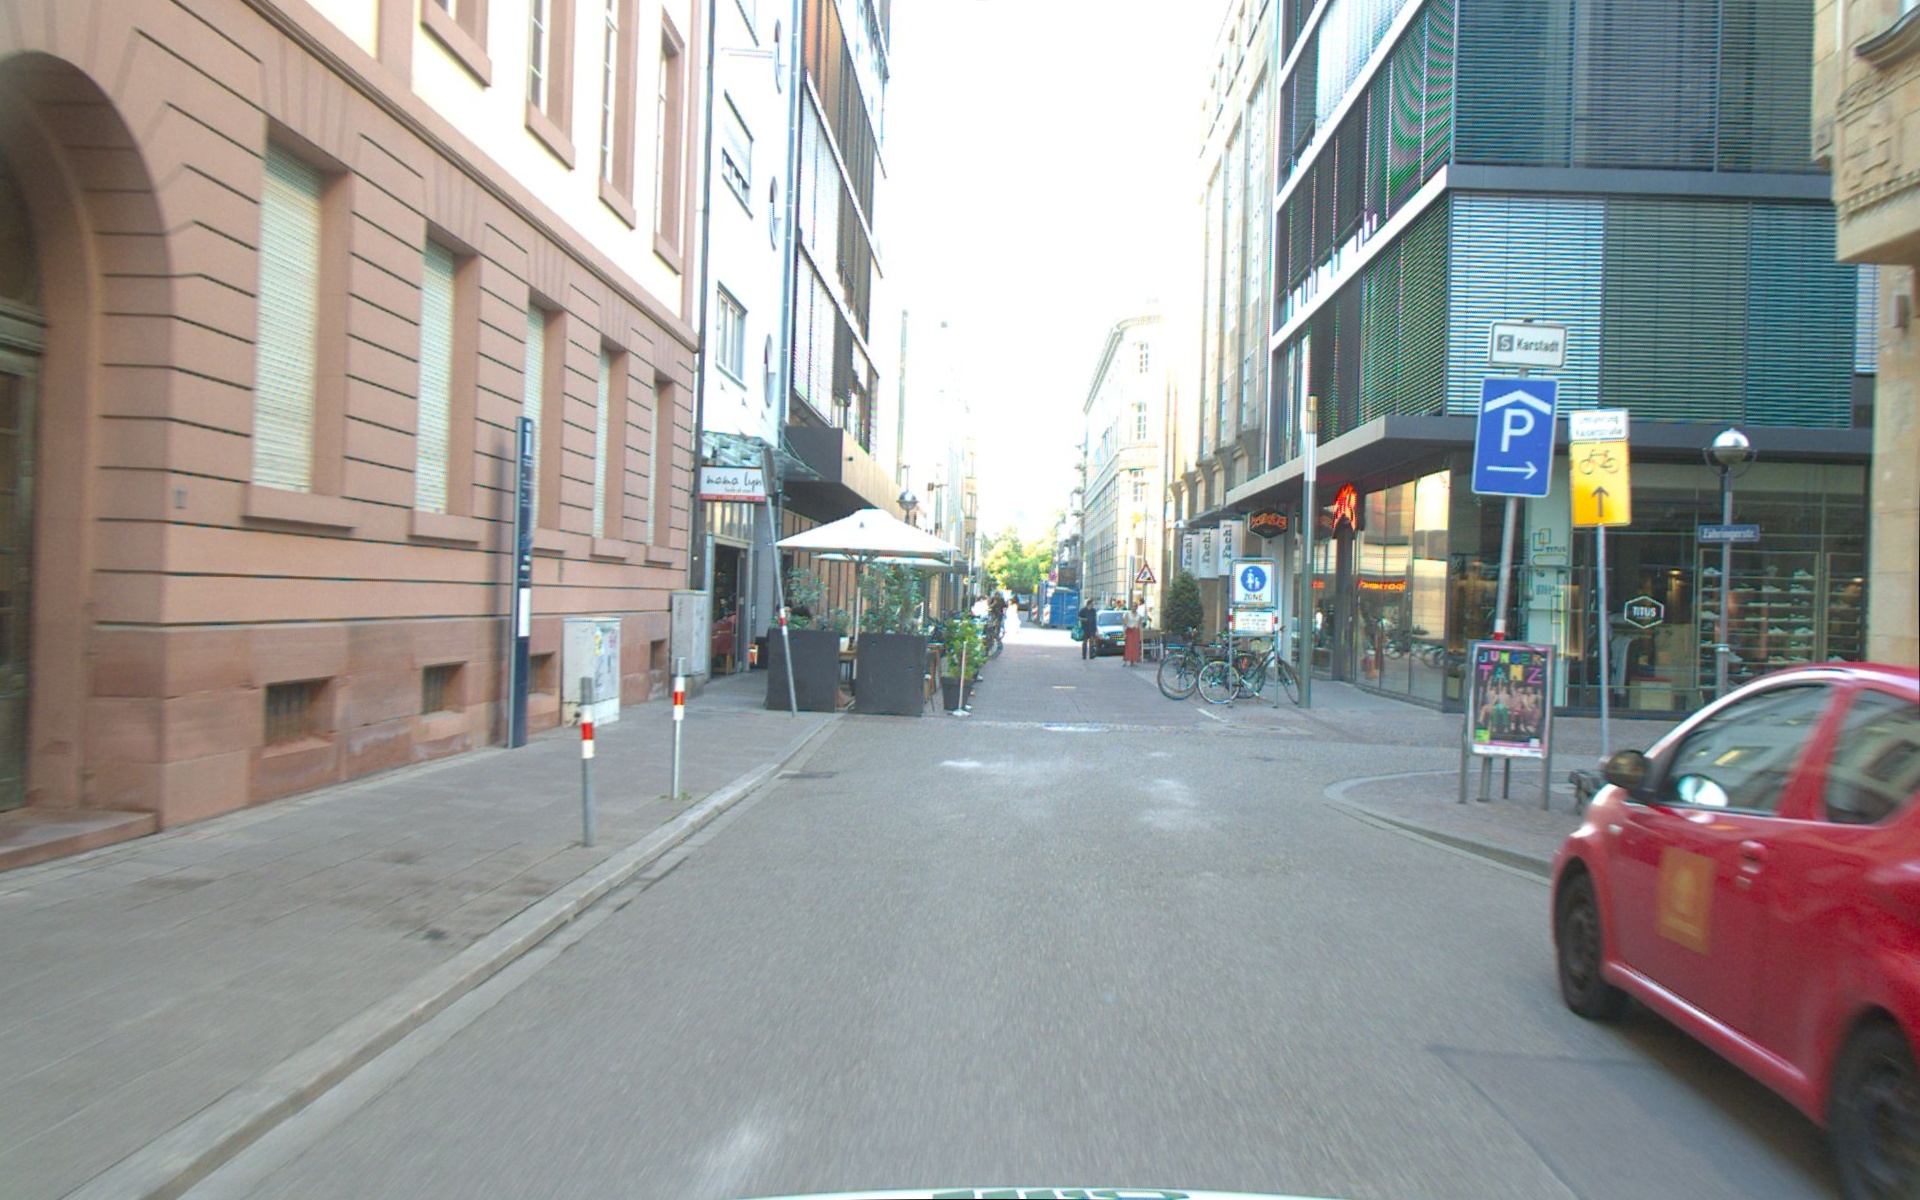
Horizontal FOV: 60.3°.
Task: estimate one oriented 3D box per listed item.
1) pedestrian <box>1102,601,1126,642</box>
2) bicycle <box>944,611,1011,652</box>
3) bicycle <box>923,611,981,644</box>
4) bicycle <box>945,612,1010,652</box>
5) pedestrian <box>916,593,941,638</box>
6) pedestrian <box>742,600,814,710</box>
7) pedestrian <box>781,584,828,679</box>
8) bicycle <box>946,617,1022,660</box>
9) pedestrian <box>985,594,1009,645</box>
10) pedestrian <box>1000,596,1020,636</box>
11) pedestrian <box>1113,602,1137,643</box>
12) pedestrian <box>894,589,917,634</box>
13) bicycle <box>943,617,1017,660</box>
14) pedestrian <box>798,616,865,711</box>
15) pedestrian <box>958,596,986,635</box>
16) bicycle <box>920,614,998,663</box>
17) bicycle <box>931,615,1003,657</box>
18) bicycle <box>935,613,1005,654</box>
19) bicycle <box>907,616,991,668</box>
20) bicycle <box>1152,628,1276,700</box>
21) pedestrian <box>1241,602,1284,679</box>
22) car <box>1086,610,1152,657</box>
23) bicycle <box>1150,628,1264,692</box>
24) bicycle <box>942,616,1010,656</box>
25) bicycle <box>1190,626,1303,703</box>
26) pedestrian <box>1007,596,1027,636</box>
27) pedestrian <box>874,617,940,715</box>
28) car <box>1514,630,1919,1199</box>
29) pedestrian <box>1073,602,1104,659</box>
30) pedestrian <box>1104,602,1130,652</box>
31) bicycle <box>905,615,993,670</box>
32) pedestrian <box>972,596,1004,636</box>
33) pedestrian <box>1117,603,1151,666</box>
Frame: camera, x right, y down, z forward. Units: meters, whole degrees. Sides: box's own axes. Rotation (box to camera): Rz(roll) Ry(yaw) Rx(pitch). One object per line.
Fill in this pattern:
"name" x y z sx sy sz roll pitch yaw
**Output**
"pedestrian" 6.558 0.920 70.341 0.886 1.690 0.793 2 0 -1
"bicycle" 0.559 0.979 51.738 2.006 1.114 0.467 4 0 1
"bicycle" -0.285 0.961 58.721 2.006 1.031 0.467 4 0 1
"bicycle" 0.560 1.007 52.594 2.006 1.114 0.467 4 0 1
"pedestrian" -1.377 0.664 71.716 1.004 1.892 0.907 2 0 1
"pedestrian" -2.350 0.701 21.416 0.774 1.354 0.673 3 -1 0
"pedestrian" -2.815 0.565 29.943 0.774 1.677 0.725 2 0 -4
"bicycle" 0.656 1.053 45.294 2.006 1.034 0.467 4 0 1
"pedestrian" 1.394 0.733 62.306 0.816 1.892 0.907 2 0 0
"pedestrian" 2.408 0.763 79.732 0.885 1.892 0.836 2 0 1
"pedestrian" 6.950 0.927 69.623 0.886 1.690 0.793 2 0 -1
"pedestrian" -2.346 0.484 71.226 0.885 1.892 0.836 2 0 1
"bicycle" 0.565 1.070 46.215 2.006 1.034 0.467 4 0 1
"pedestrian" -1.721 0.841 22.222 0.774 1.204 0.673 3 -1 0
"pedestrian" 0.559 0.712 75.371 0.850 1.764 0.927 1 0 45
"bicycle" -0.011 0.972 42.147 1.907 1.093 0.467 4 0 1
"bicycle" 0.210 1.033 47.834 2.006 1.068 0.467 4 0 1
"bicycle" 0.292 1.008 49.205 2.006 1.068 0.467 4 0 1
"bicycle" -0.262 0.989 39.335 1.907 1.093 0.467 4 0 1
"bicycle" 4.167 1.048 27.194 1.968 1.141 0.467 0 0 1
"pedestrian" 6.458 0.850 35.309 0.780 1.593 0.859 1 0 4
"car" 5.188 1.080 54.354 1.718 1.466 3.927 1 0 -1
"bicycle" 4.451 1.081 29.857 1.992 1.141 0.467 0 0 1
"bicycle" 0.490 1.089 50.508 2.006 1.068 0.467 4 0 1
"bicycle" 4.431 0.996 25.627 1.662 1.156 0.467 0 0 1
"pedestrian" 2.708 0.765 78.928 0.885 1.892 0.836 2 0 1
"pedestrian" -0.691 0.852 21.457 0.774 1.204 0.673 3 -1 -4
"car" 3.175 0.925 5.339 1.581 1.449 3.598 6 0 2
"pedestrian" 3.920 0.926 50.539 0.880 1.690 0.931 2 0 3
"pedestrian" 6.098 1.032 64.197 0.886 1.892 0.836 2 0 0
"bicycle" -0.249 0.944 37.218 1.907 1.093 0.467 4 0 1
"pedestrian" 1.269 0.720 74.549 0.996 1.764 0.974 1 0 45
"pedestrian" 4.489 0.878 42.613 0.781 1.593 0.859 2 0 2
